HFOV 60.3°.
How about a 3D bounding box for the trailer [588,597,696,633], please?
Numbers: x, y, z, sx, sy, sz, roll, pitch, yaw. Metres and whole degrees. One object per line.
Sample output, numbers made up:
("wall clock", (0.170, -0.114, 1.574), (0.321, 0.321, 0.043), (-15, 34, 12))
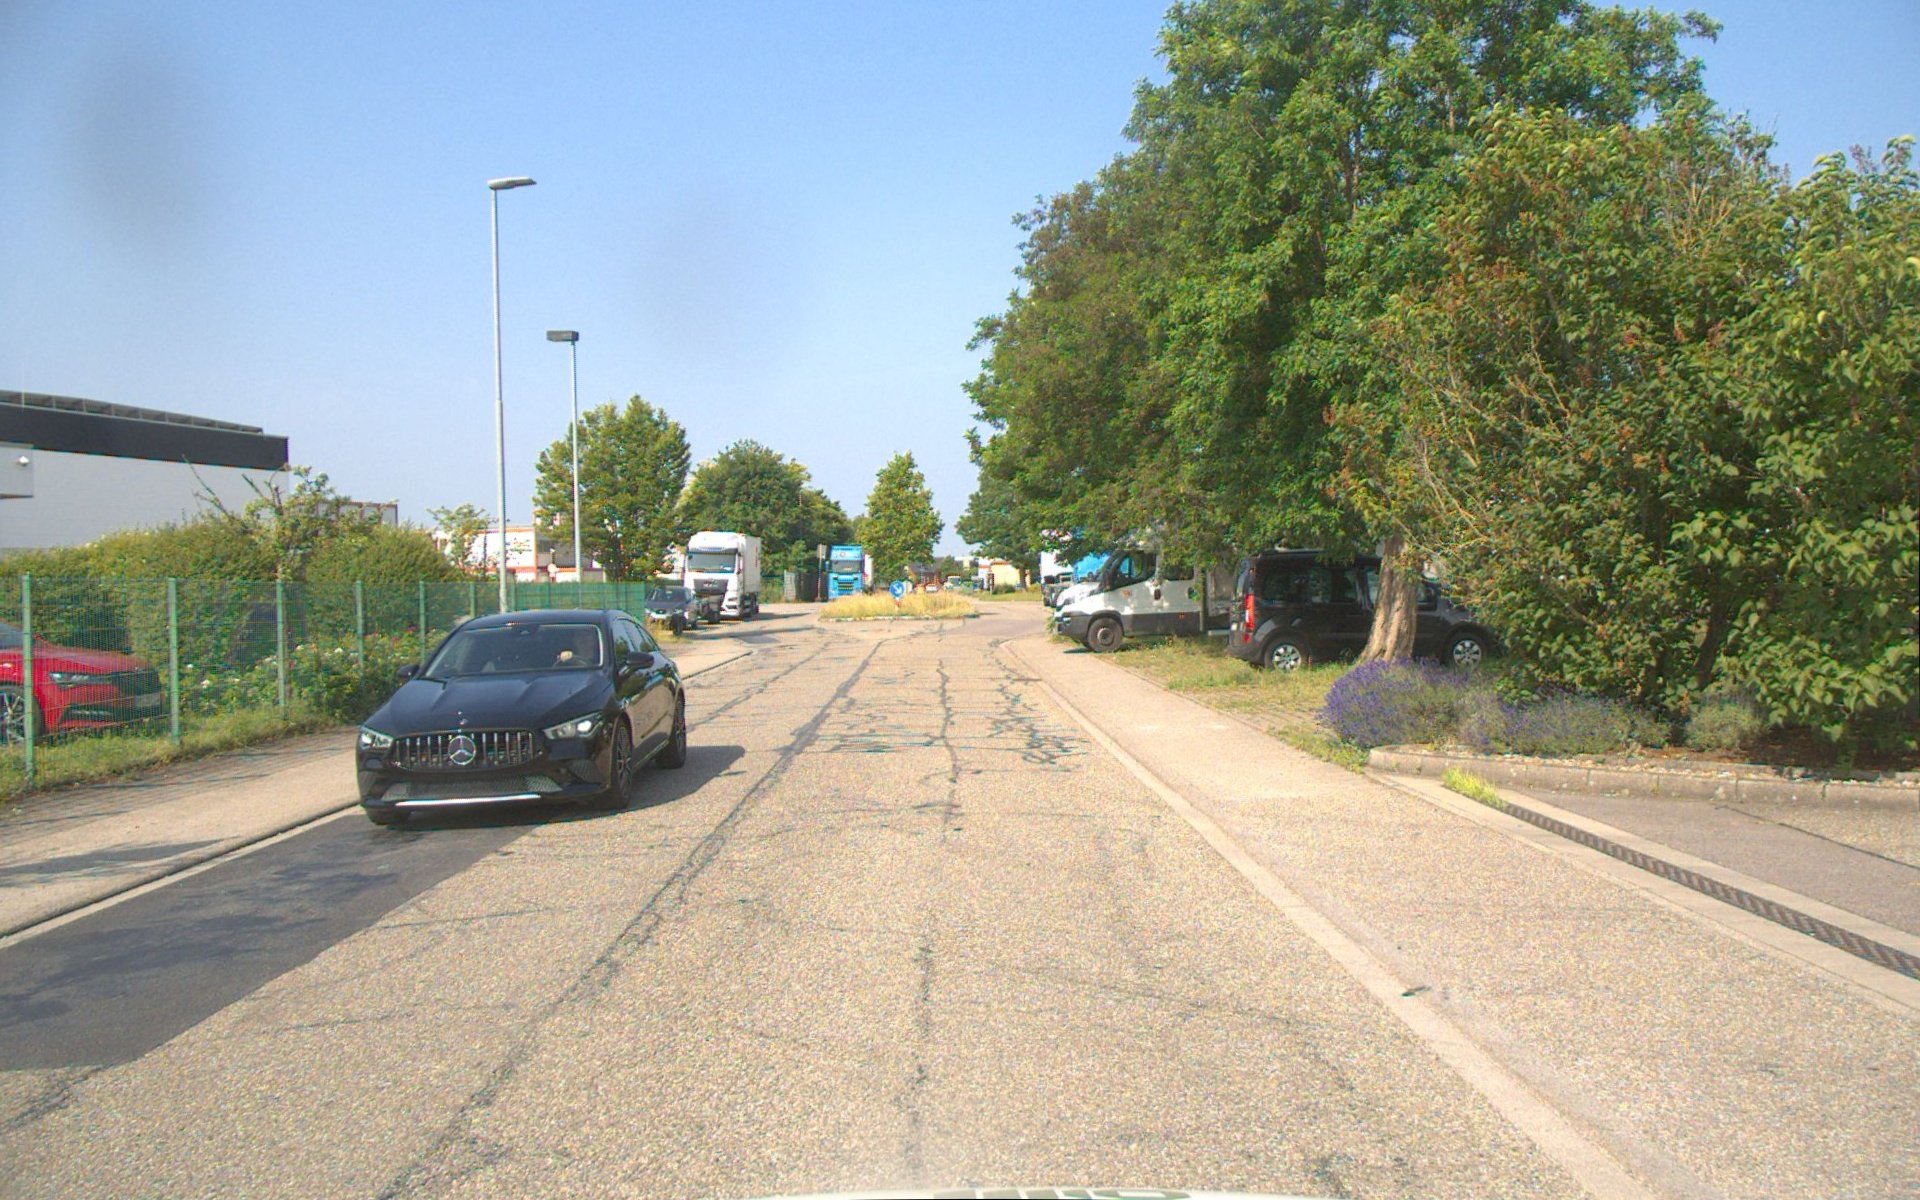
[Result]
("trailer", (-10.539, 0.465, 55.362), (2.496, 0.941, 6.707), (2, 1, -2))

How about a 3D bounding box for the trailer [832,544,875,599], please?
("trailer", (-8.186, -2.110, 128.667), (2.774, 3.910, 12.032), (0, 0, -1))

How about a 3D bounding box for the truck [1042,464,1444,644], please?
("truck", (5.946, -0.951, 35.580), (8.044, 3.429, 2.740), (-2, 0, -2))

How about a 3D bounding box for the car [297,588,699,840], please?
("car", (-3.303, 0.709, 12.815), (1.954, 1.474, 4.417), (-4, 1, -3))

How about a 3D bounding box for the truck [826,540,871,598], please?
("truck", (-8.006, -2.172, 119.410), (2.768, 3.893, 9.669), (0, 0, -1))

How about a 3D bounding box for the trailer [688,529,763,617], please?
("trailer", (-11.144, -1.214, 79.175), (2.645, 3.990, 7.572), (0, 0, -2))

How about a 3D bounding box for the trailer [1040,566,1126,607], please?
("trailer", (5.719, -0.661, 79.794), (2.690, 1.601, 16.169), (-4, 1, -1))

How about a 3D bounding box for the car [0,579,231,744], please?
("car", (-9.915, 0.652, 16.370), (4.445, 1.469, 1.952), (-3, 0, -2))

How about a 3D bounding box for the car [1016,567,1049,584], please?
("car", (5.924, -2.005, 135.565), (1.642, 1.353, 3.646), (1, 0, -17))

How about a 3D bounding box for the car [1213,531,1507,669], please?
("car", (5.942, -0.008, 24.940), (3.905, 1.870, 2.000), (-2, 0, 0))

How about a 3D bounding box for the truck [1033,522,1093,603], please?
("truck", (5.500, -2.005, 88.843), (2.690, 4.050, 3.999), (-4, 0, -1))

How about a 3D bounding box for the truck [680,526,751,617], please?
("truck", (-11.038, -1.245, 74.912), (2.654, 3.990, 4.295), (0, -1, -2))

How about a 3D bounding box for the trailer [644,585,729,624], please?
("trailer", (-11.201, 0.153, 68.245), (2.626, 1.479, 5.077), (-1, 1, 0))

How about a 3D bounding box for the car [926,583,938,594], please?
("car", (-4.389, -1.794, 256.184), (1.684, 1.690, 3.821), (0, 0, -3))

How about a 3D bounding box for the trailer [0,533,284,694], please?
("trailer", (-24.670, 0.382, 46.761), (2.429, 4.112, 13.898), (0, 0, 15))

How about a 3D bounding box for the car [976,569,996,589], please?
("car", (2.546, -2.011, 160.291), (1.756, 1.780, 3.998), (0, 0, -2))

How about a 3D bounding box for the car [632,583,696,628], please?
("car", (-11.060, 0.173, 62.039), (1.661, 1.588, 4.335), (1, 1, -1))

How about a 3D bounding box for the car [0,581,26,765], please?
("car", (-9.662, 0.698, 12.581), (3.959, 1.469, 1.873), (-3, 0, -2))

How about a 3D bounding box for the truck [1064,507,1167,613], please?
("truck", (5.956, -1.426, 64.904), (2.830, 3.596, 9.754), (-5, 0, 0))
